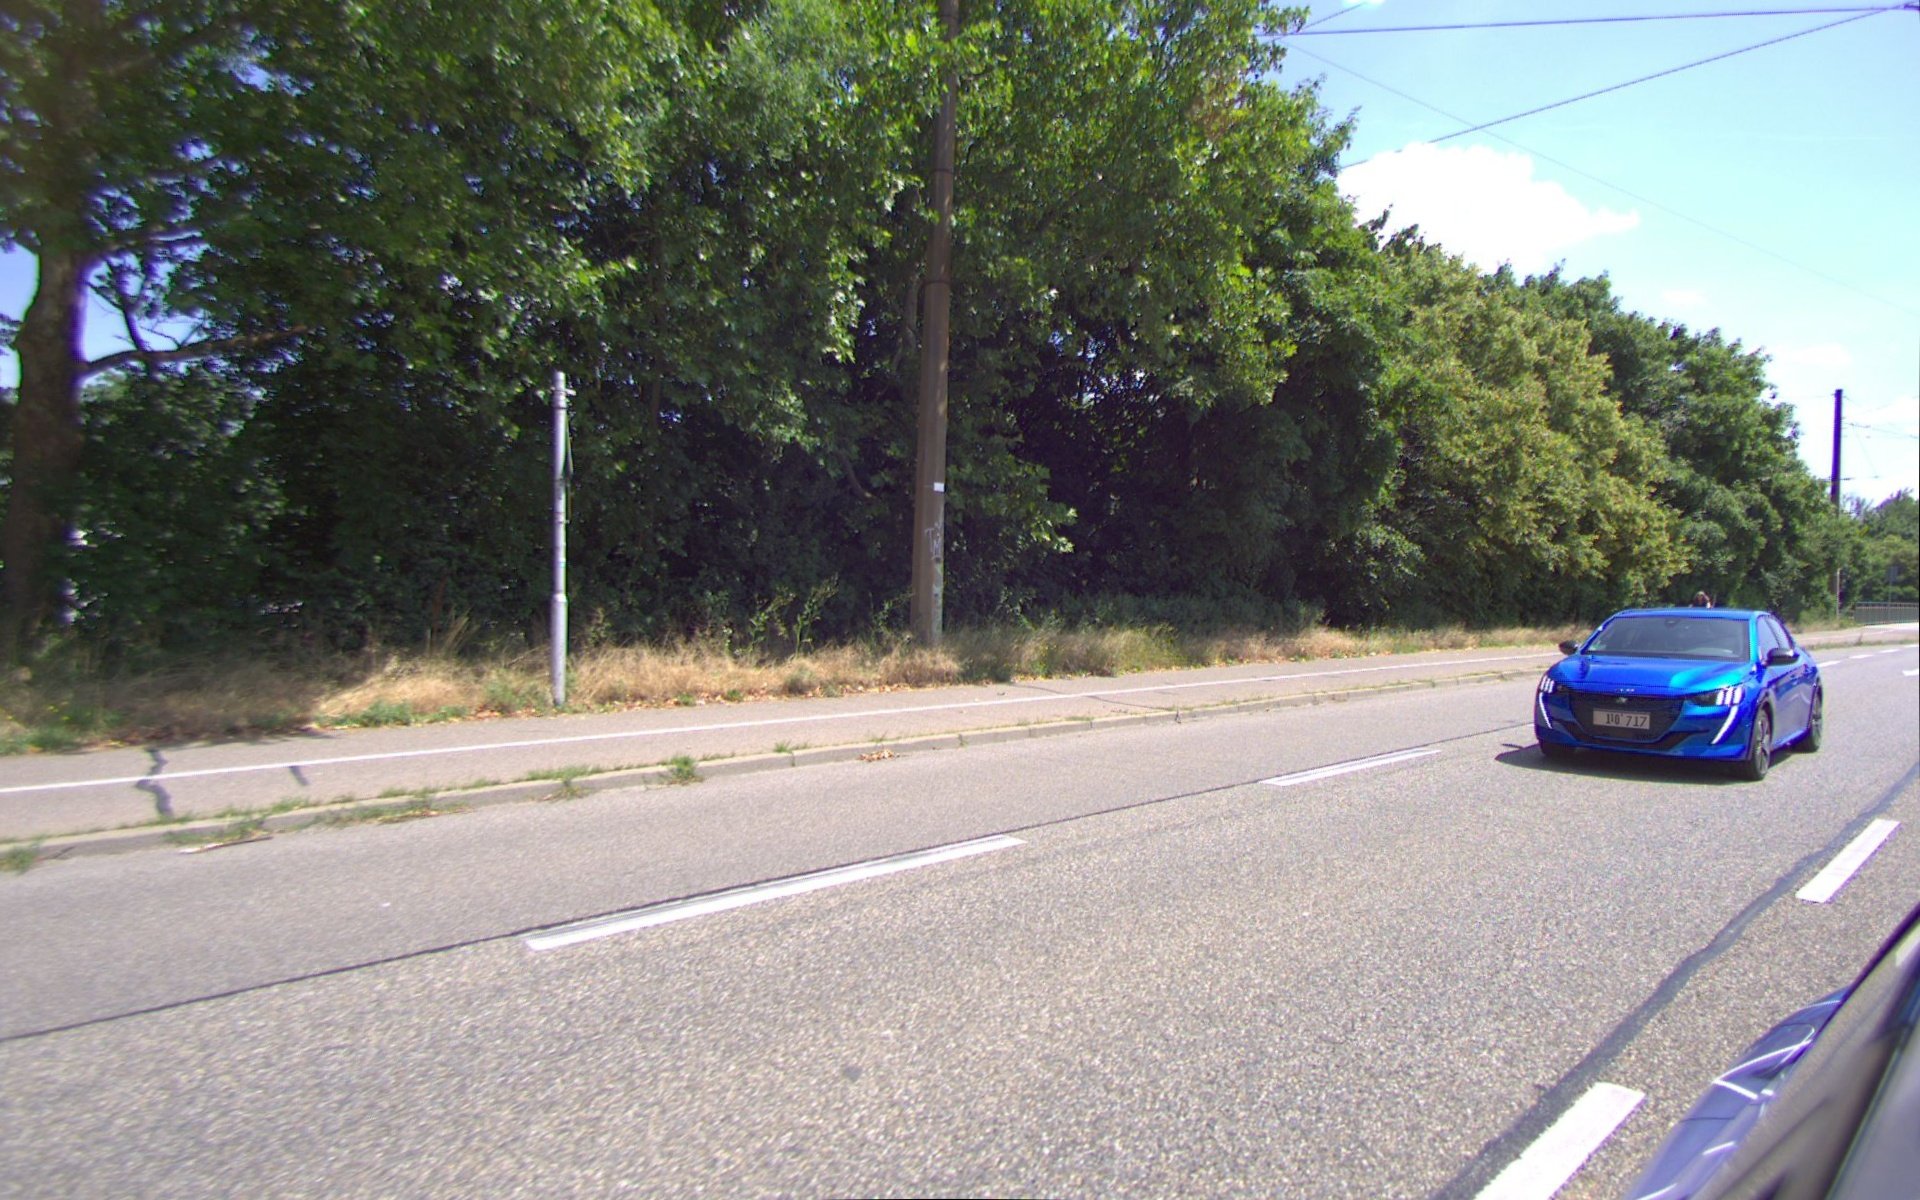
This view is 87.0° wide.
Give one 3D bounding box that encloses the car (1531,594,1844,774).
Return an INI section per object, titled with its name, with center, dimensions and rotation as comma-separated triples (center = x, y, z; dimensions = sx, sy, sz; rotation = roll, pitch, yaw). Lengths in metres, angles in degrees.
[car]
center = 7.188, 0.659, 9.879
dimensions = 3.678, 1.423, 1.659
rotation = 0, 0, -40

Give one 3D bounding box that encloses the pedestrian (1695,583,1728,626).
[pedestrian]
center = 24.477, 0.140, 32.964
dimensions = 1.032, 1.391, 0.629
rotation = 0, 1, -41

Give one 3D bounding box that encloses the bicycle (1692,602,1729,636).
[bicycle]
center = 24.457, 0.615, 32.987
dimensions = 1.815, 1.037, 0.561
rotation = 0, 2, -41
